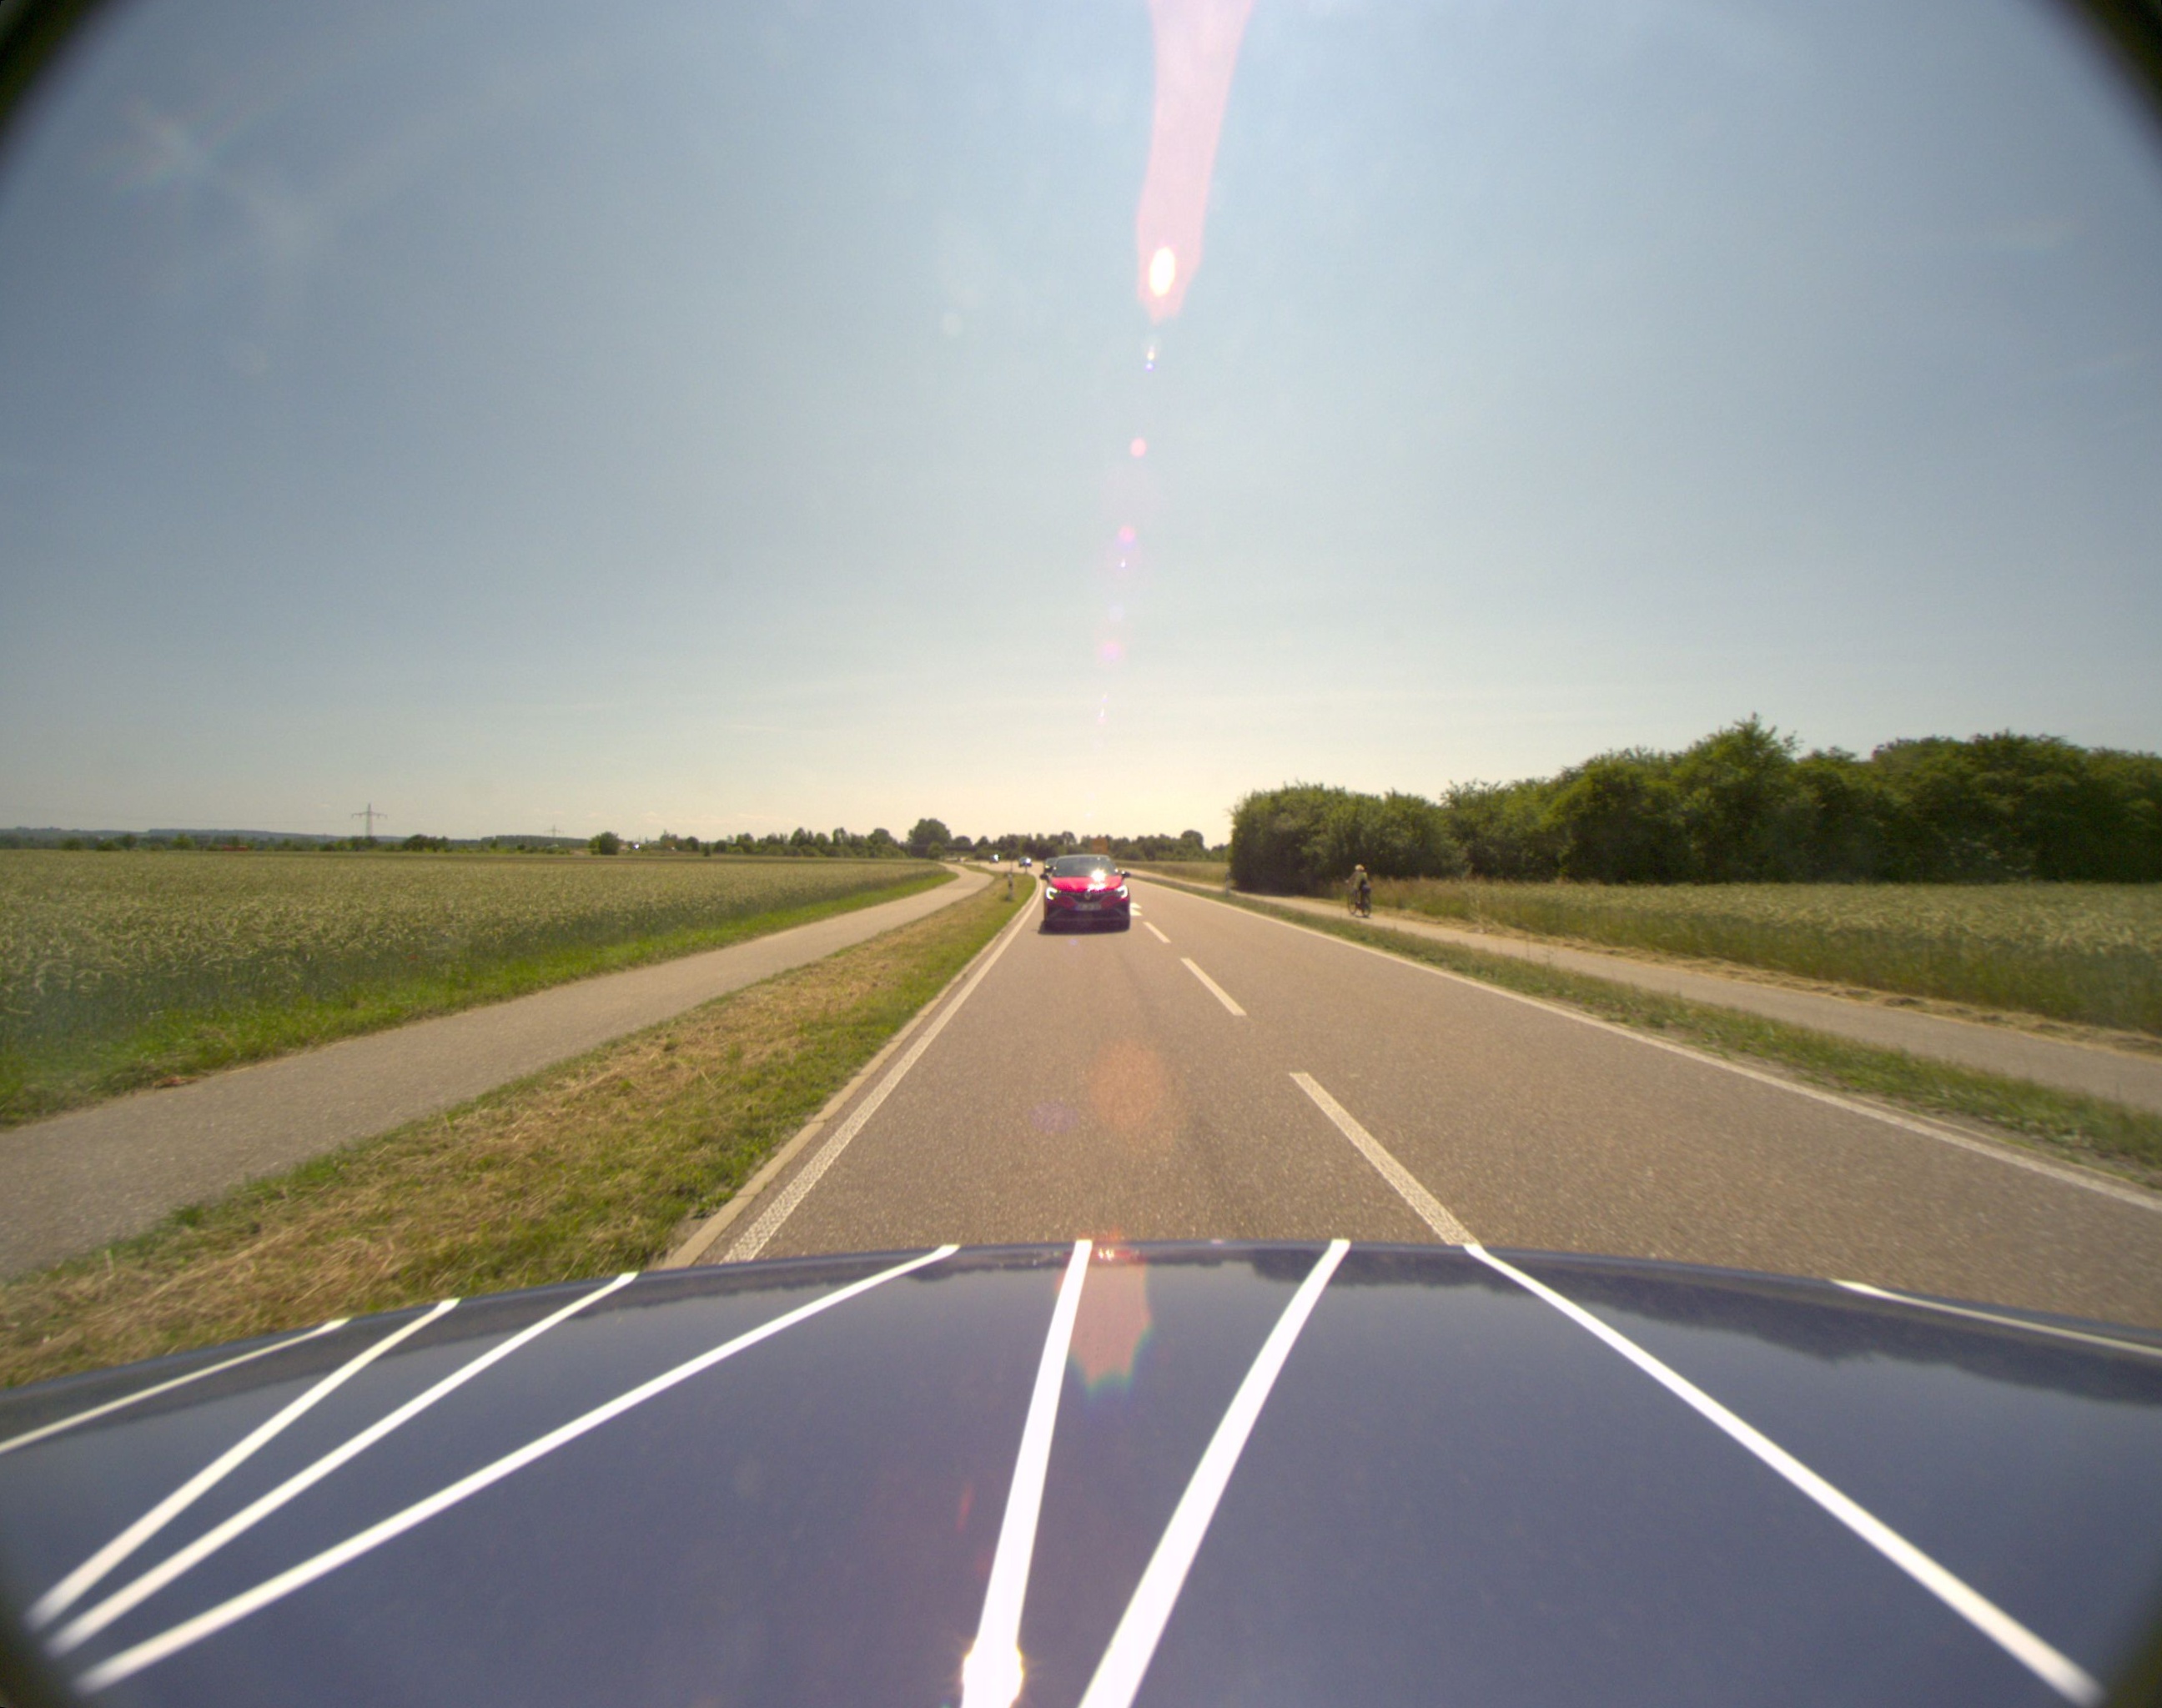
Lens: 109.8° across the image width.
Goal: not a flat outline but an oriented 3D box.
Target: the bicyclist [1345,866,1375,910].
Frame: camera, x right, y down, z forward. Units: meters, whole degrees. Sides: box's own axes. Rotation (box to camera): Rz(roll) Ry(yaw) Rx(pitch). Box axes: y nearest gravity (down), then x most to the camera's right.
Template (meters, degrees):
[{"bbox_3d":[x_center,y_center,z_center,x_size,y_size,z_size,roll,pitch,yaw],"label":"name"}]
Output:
[{"bbox_3d":[9.271,1.121,25.272,0.665,1.430,0.822,-1,1,-3],"label":"bicyclist"}]

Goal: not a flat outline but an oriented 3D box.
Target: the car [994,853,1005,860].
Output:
[{"bbox_3d":[-18.132,0.560,168.799,1.985,1.587,5.396,-1,0,-12],"label":"car"}]

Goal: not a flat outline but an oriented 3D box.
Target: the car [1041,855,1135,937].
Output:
[{"bbox_3d":[0.150,0.843,17.531,1.837,1.587,4.721,-1,0,0],"label":"car"}]

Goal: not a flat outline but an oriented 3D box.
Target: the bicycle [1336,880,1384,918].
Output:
[{"bbox_3d":[9.241,1.472,25.222,0.696,1.169,1.962,1,0,-5],"label":"bicycle"}]

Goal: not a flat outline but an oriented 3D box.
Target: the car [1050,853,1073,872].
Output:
[{"bbox_3d":[-1.778,0.712,67.888,1.983,1.587,5.400,-1,0,-3],"label":"car"}]

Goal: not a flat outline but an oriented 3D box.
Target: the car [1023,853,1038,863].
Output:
[{"bbox_3d":[-7.760,0.601,116.703,1.984,1.587,5.398,-1,0,-6],"label":"car"}]
